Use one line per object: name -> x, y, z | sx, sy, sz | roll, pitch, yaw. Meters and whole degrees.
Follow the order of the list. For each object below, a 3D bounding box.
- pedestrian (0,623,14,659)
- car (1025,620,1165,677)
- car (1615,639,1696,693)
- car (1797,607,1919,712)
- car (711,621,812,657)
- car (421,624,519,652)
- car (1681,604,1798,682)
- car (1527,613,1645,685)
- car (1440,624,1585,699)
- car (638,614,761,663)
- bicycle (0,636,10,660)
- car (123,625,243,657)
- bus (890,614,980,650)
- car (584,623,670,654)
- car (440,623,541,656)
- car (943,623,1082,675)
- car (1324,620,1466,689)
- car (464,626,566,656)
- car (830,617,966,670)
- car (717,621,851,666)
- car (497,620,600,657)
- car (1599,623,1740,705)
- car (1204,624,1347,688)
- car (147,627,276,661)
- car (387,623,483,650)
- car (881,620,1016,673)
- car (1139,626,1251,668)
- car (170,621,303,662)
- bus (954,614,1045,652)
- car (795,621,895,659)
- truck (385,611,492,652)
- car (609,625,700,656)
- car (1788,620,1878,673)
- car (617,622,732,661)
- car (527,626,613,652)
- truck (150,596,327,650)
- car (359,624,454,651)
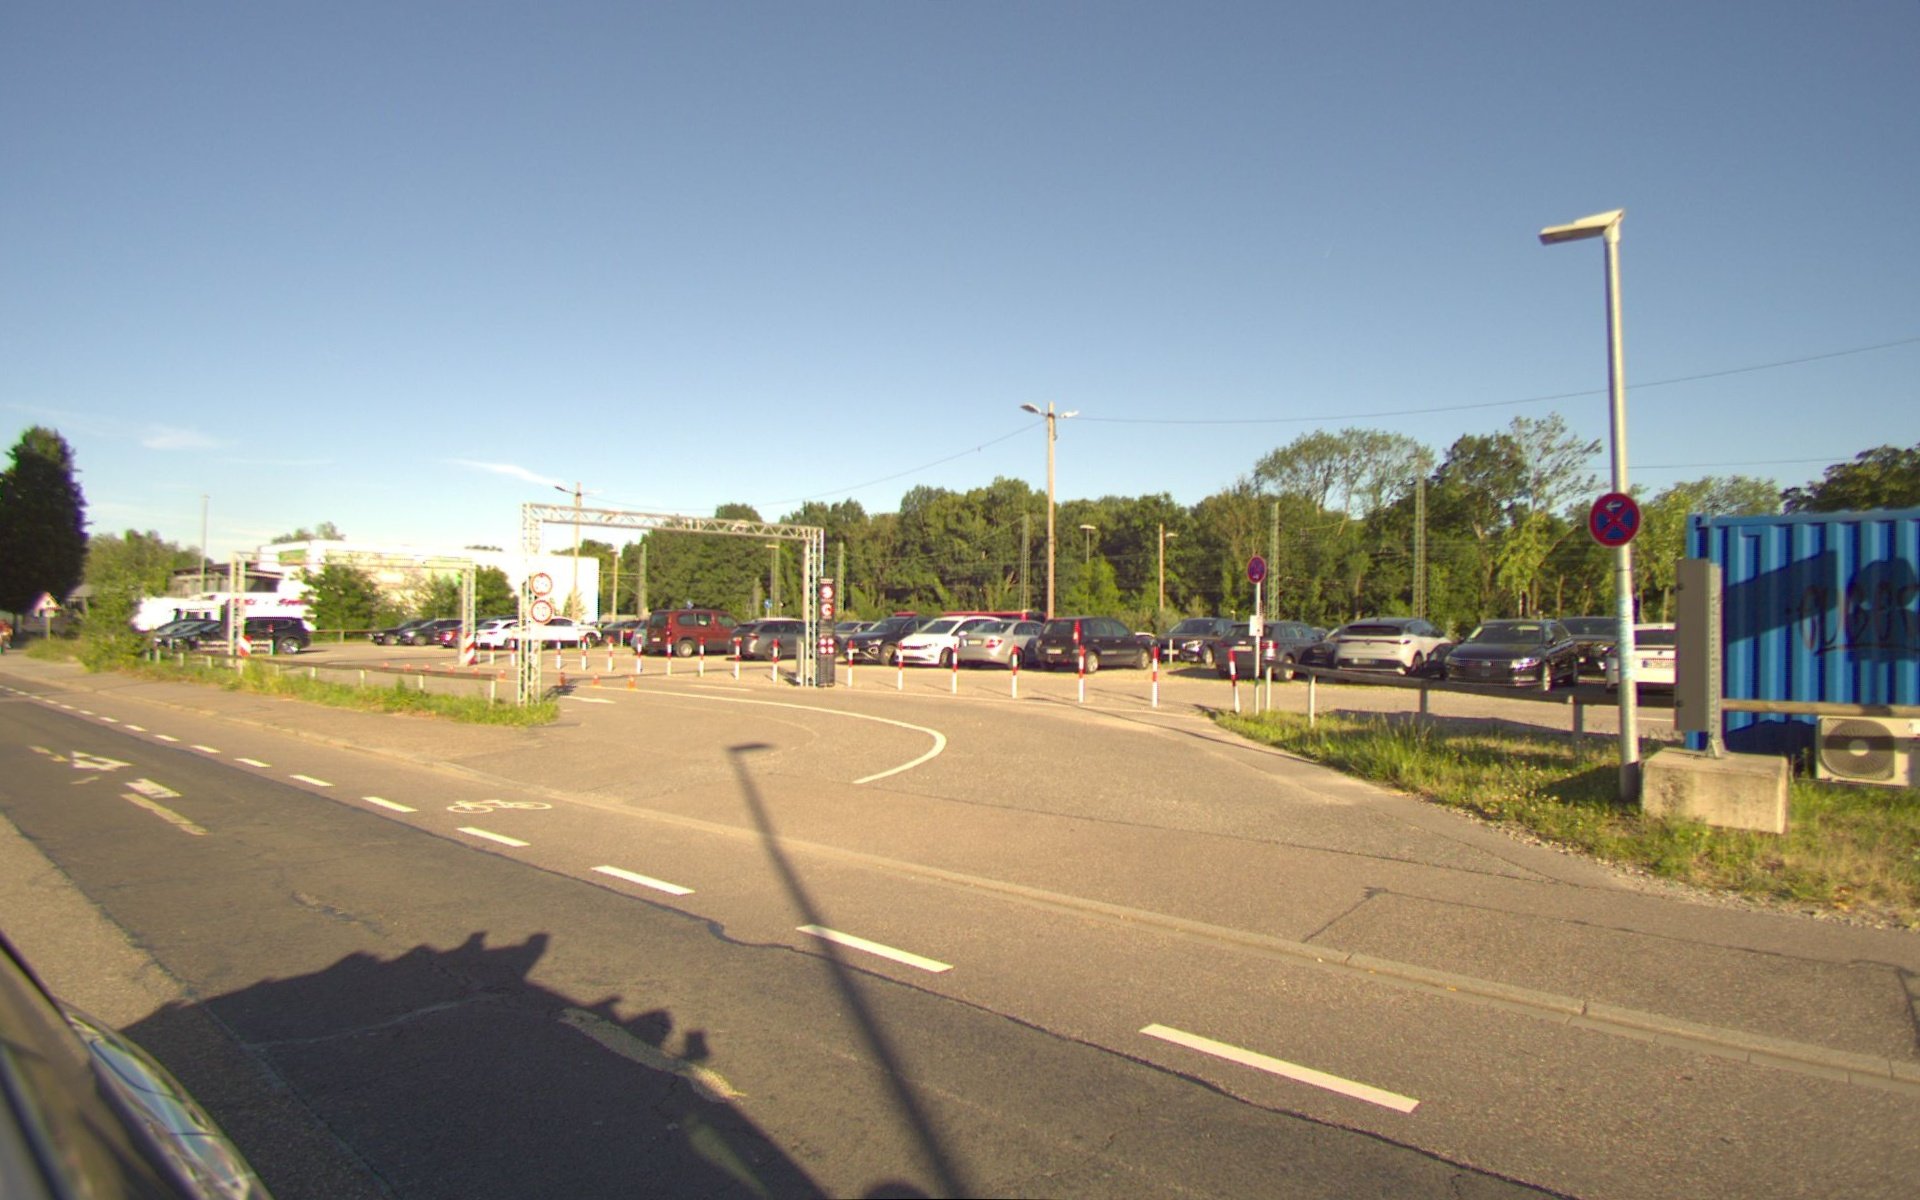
pedestrian -> -47.371, 2.025, 50.037 | 1.056, 1.734, 0.713 | -1, -2, 41
car -> 3.879, 1.325, 28.569 | 1.877, 1.474, 4.276 | -2, -2, 41
car -> 22.455, 2.076, 32.645 | 1.753, 1.565, 3.683 | -2, -2, 41
car -> 15.721, 0.958, 17.510 | 1.877, 1.616, 3.843 | -2, -2, 40
car -> -9.014, 1.759, 46.206 | 1.856, 1.557, 4.321 | -2, -2, 41
car -> -25.566, 1.974, 52.913 | 2.045, 1.408, 4.122 | -1, -2, 37
car -> 17.728, 0.928, 22.946 | 1.877, 1.616, 3.843 | -2, -2, 41
car -> 15.361, 1.148, 24.767 | 1.877, 1.616, 3.843 | -2, -2, 41
car -> 11.679, 1.206, 21.257 | 1.877, 1.387, 4.278 | -2, -2, 40
car -> -10.292, 1.496, 40.234 | 1.856, 1.819, 4.528 | -2, -2, 41
bicycle -> -47.380, 2.356, 50.010 | 1.868, 1.157, 0.465 | -1, -1, 41
car -> -38.271, 1.999, 49.929 | 2.048, 1.473, 4.381 | -1, -2, 42
bus -> -1.801, 2.205, 69.710 | 6.203, 2.366, 2.512 | -1, -3, 42
car -> -17.571, 2.012, 53.513 | 1.911, 1.561, 3.949 | -1, -2, 38
car -> -23.575, 1.976, 50.927 | 2.045, 1.590, 4.122 | -1, -2, 37
car -> 1.615, 1.388, 29.843 | 1.877, 1.404, 4.276 | -2, -2, 41
car -> 10.166, 1.189, 23.472 | 1.877, 1.430, 4.278 | -2, -2, 40
car -> -21.673, 1.980, 49.392 | 2.045, 1.408, 4.122 | -1, -2, 37
car -> -1.964, 1.379, 33.271 | 1.856, 1.597, 4.528 | -2, -2, 41
car -> -6.346, 1.542, 36.808 | 1.991, 1.492, 4.525 | -2, -2, 43
car -> -19.498, 1.798, 48.109 | 1.964, 1.674, 4.121 | -1, -2, 38
car -> 13.780, 1.146, 19.544 | 1.877, 1.387, 4.278 | -2, -2, 40
car -> 7.864, 1.313, 25.015 | 1.877, 1.430, 4.278 | -2, -2, 40
car -> -33.972, 1.971, 45.989 | 2.048, 1.473, 4.381 | -1, -2, 42
car -> -29.413, 2.024, 56.816 | 2.045, 1.476, 4.361 | -1, -2, 37
car -> -0.294, 1.421, 31.762 | 1.877, 1.535, 4.276 | -2, -2, 41
car -> 7.405, 1.422, 31.673 | 1.877, 1.197, 3.843 | -2, -2, 41
car -> -31.556, 1.797, 44.247 | 2.048, 1.683, 4.381 | -1, -2, 42
bus -> 2.537, 2.118, 65.758 | 5.588, 2.366, 2.512 | -1, -3, 42
car -> -4.735, 1.633, 42.057 | 1.893, 1.477, 3.947 | -2, -2, 39
truck -> -37.220, 2.265, 72.397 | 2.314, 2.829, 6.430 | -1, -2, 39
car -> -15.698, 2.047, 52.141 | 1.964, 1.541, 4.121 | -1, -2, 38
car -> 25.634, 1.323, 29.821 | 1.877, 1.447, 3.843 | -2, -2, 40
car -> -11.919, 1.699, 42.449 | 1.856, 1.557, 4.321 | -2, -2, 41
car -> -22.082, 2.169, 57.448 | 2.045, 1.408, 4.122 | -1, -2, 37
truck -> -51.667, 1.585, 72.818 | 2.773, 3.642, 9.997 | 0, -1, 39
car -> -31.799, 2.120, 58.221 | 2.045, 1.476, 4.361 | -1, -2, 37
